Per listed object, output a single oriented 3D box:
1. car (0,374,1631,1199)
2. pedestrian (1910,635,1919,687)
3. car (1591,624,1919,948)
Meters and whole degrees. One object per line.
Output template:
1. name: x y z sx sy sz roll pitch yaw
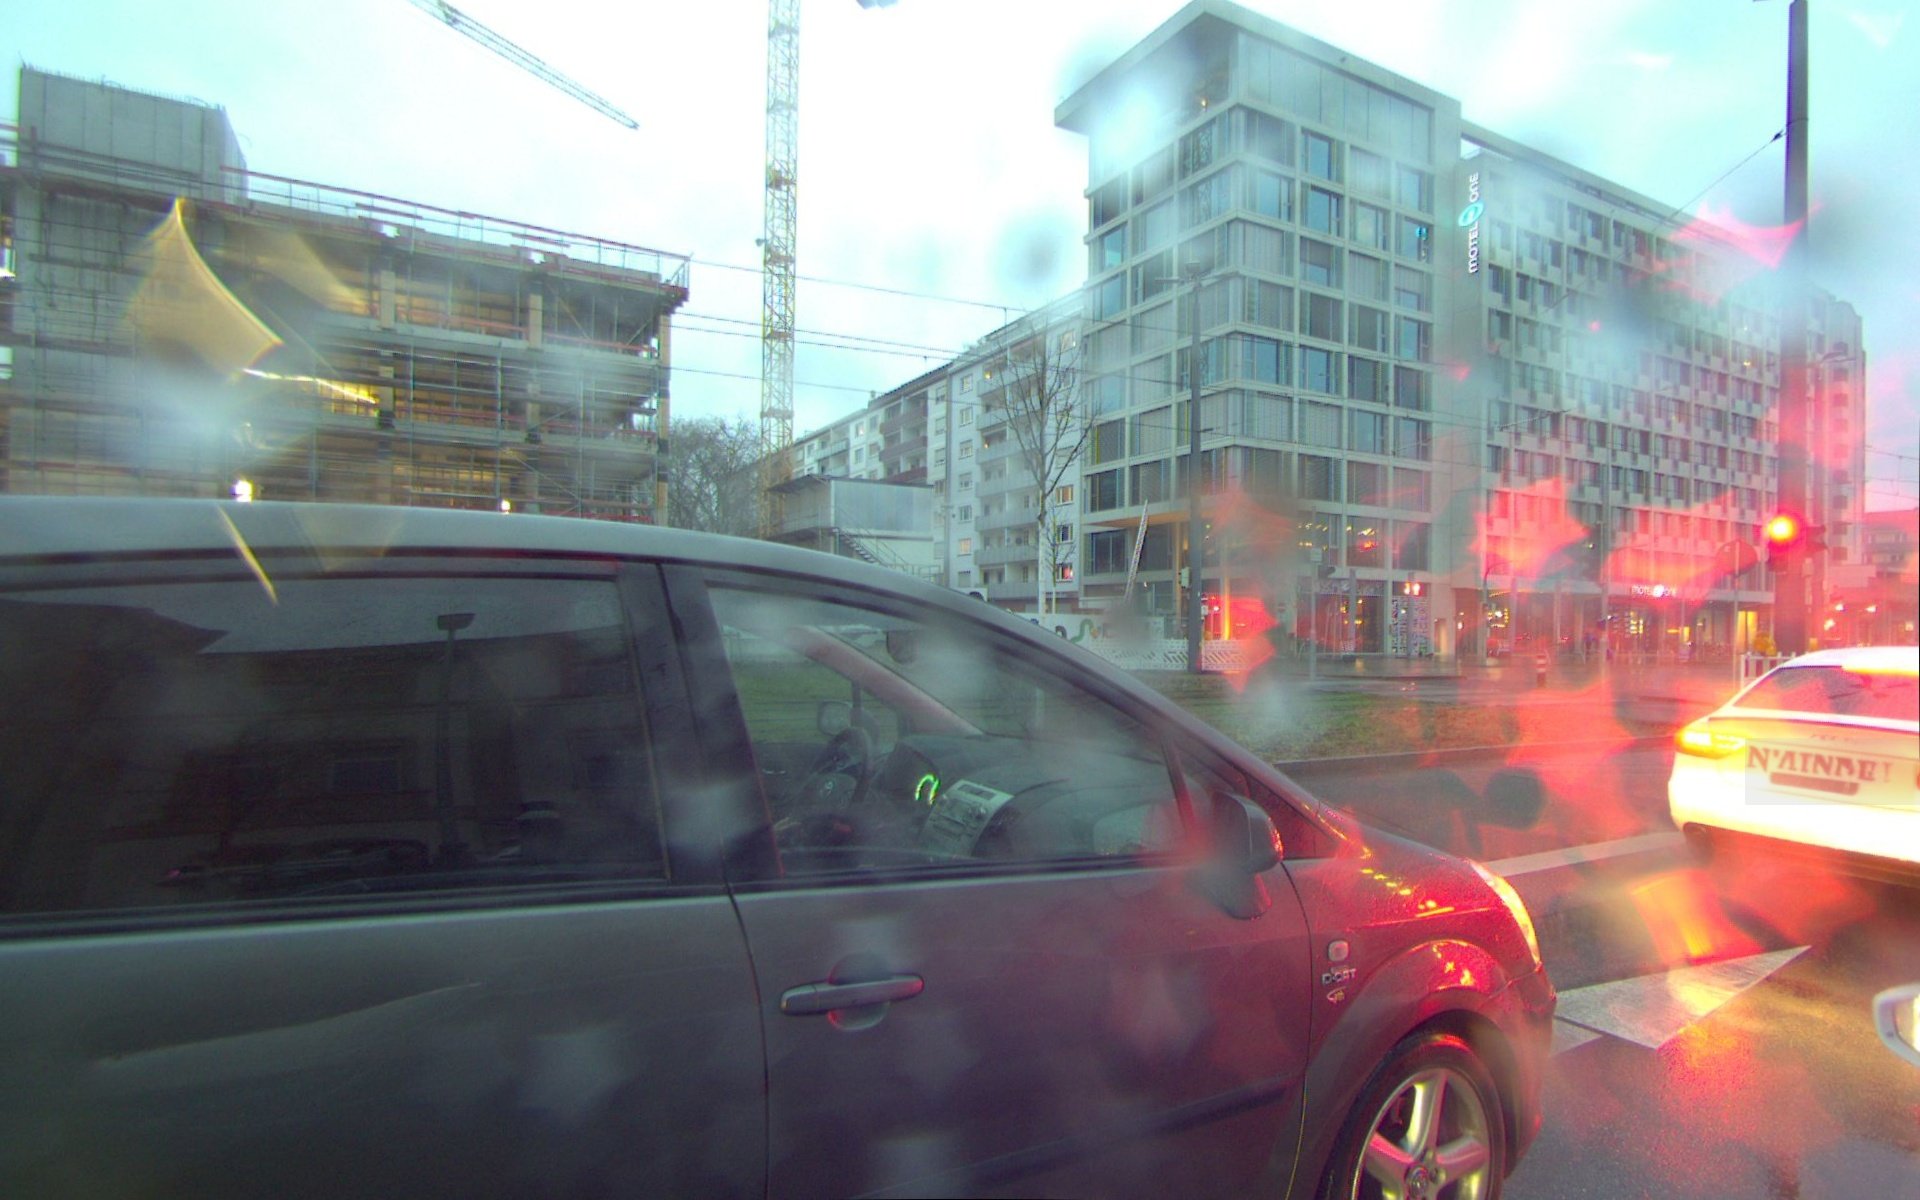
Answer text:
1. car: -0.560 0.652 2.137 4.089 1.668 1.801 1 0 -32
2. pedestrian: 32.805 2.088 34.047 0.808 1.734 0.782 2 0 -45
3. car: 6.066 0.927 6.231 4.320 1.475 1.983 1 0 -32
